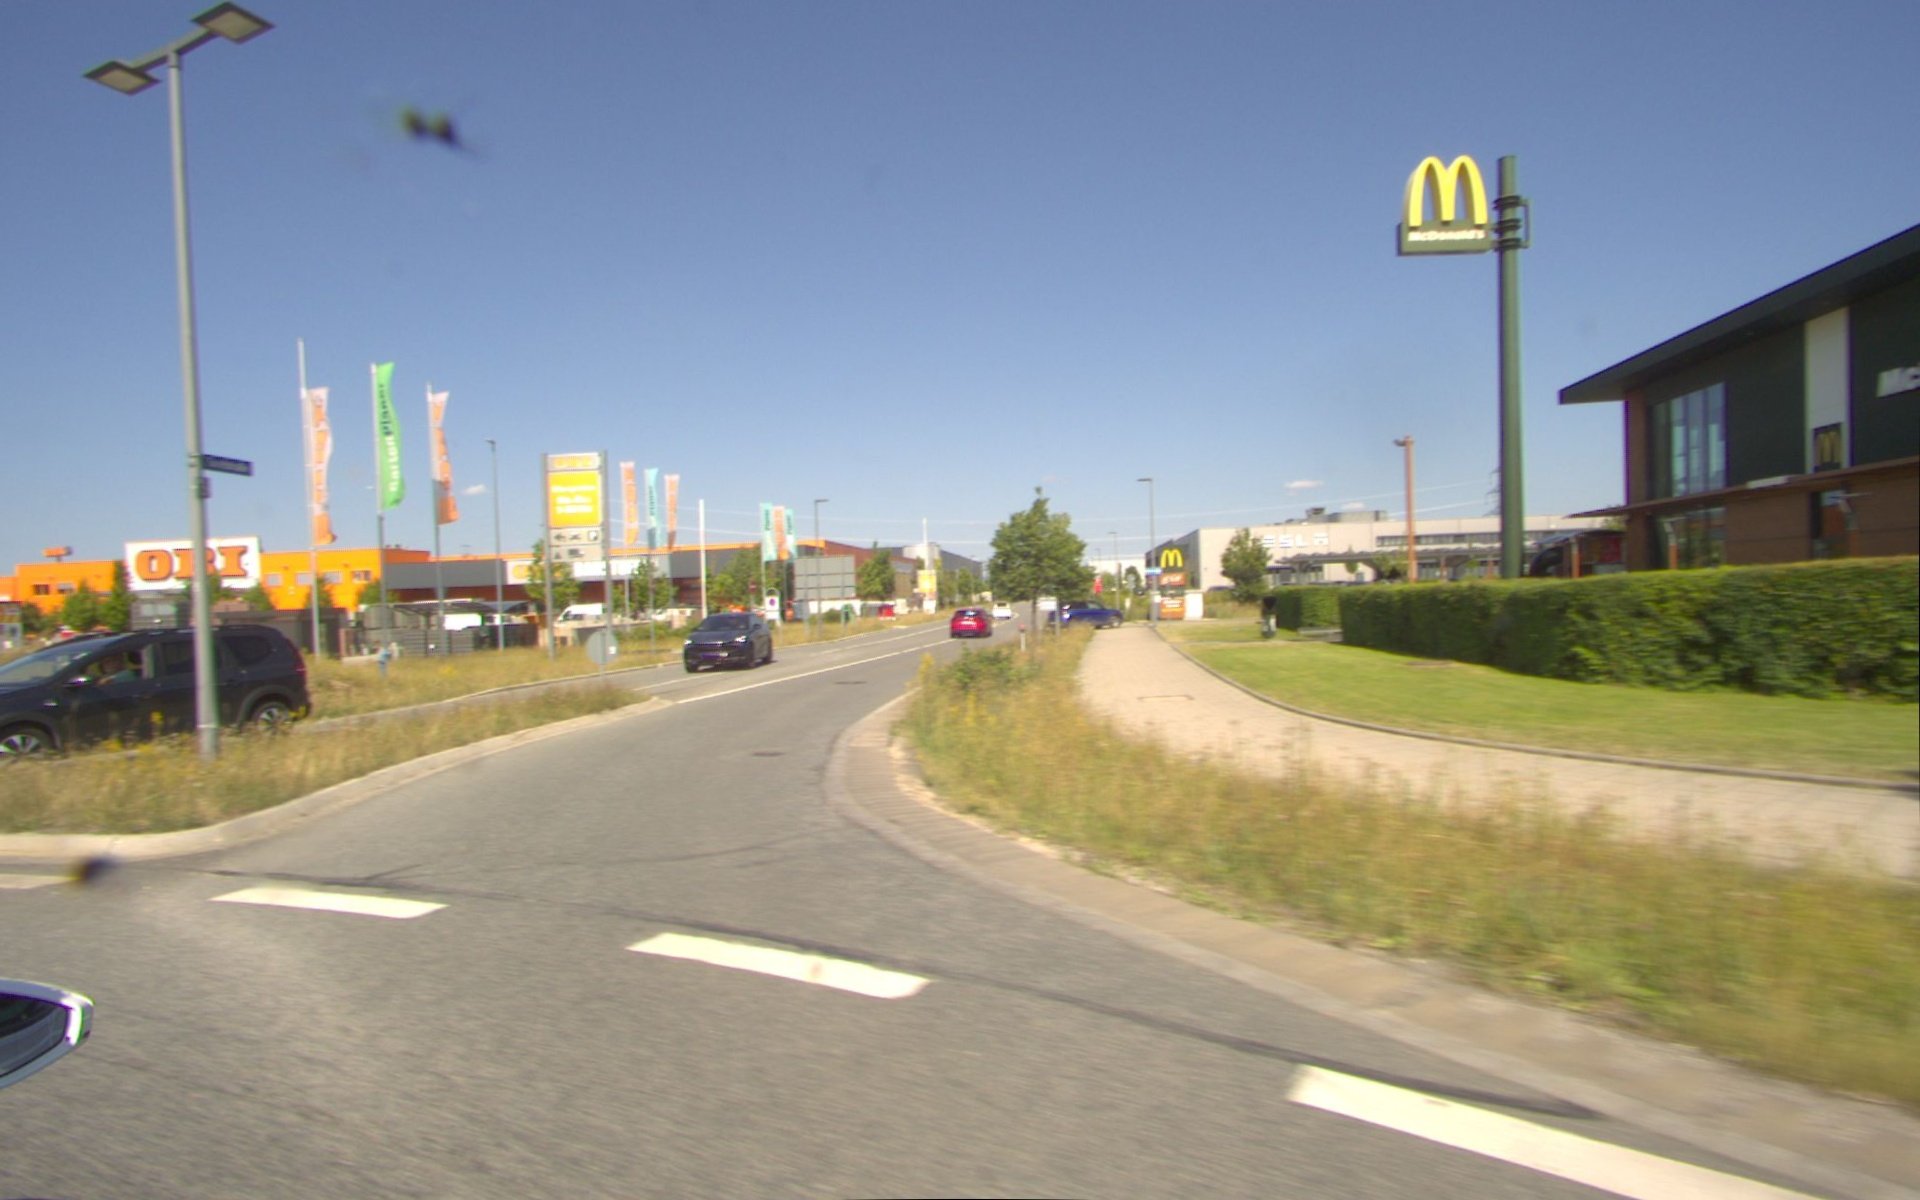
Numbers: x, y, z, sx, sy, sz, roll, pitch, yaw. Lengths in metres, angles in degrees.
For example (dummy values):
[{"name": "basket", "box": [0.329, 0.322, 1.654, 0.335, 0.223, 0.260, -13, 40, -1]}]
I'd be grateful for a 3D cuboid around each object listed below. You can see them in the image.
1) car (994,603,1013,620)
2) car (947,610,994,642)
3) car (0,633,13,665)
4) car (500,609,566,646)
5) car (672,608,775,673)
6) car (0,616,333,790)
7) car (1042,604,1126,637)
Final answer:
[{"name": "car", "box": [3.812, 0.994, 88.227, 1.485, 1.459, 3.350, -2, 0, 5]}, {"name": "car", "box": [0.584, 1.249, 49.214, 1.774, 1.435, 4.115, -1, 0, 8]}, {"name": "car", "box": [-52.830, 2.683, 52.697, 3.923, 1.639, 1.999, -2, 0, -5]}, {"name": "car", "box": [-22.854, 1.488, 53.726, 1.667, 1.864, 3.775, -2, -2, 5]}, {"name": "car", "box": [-6.792, 1.117, 29.299, 2.038, 1.648, 4.696, -3, 0, -3]}, {"name": "car", "box": [-10.581, 1.168, 12.400, 1.922, 1.728, 4.620, -3, 0, 16]}, {"name": "car", "box": [6.489, 1.080, 52.550, 4.015, 1.657, 1.850, 0, 0, -24]}]
